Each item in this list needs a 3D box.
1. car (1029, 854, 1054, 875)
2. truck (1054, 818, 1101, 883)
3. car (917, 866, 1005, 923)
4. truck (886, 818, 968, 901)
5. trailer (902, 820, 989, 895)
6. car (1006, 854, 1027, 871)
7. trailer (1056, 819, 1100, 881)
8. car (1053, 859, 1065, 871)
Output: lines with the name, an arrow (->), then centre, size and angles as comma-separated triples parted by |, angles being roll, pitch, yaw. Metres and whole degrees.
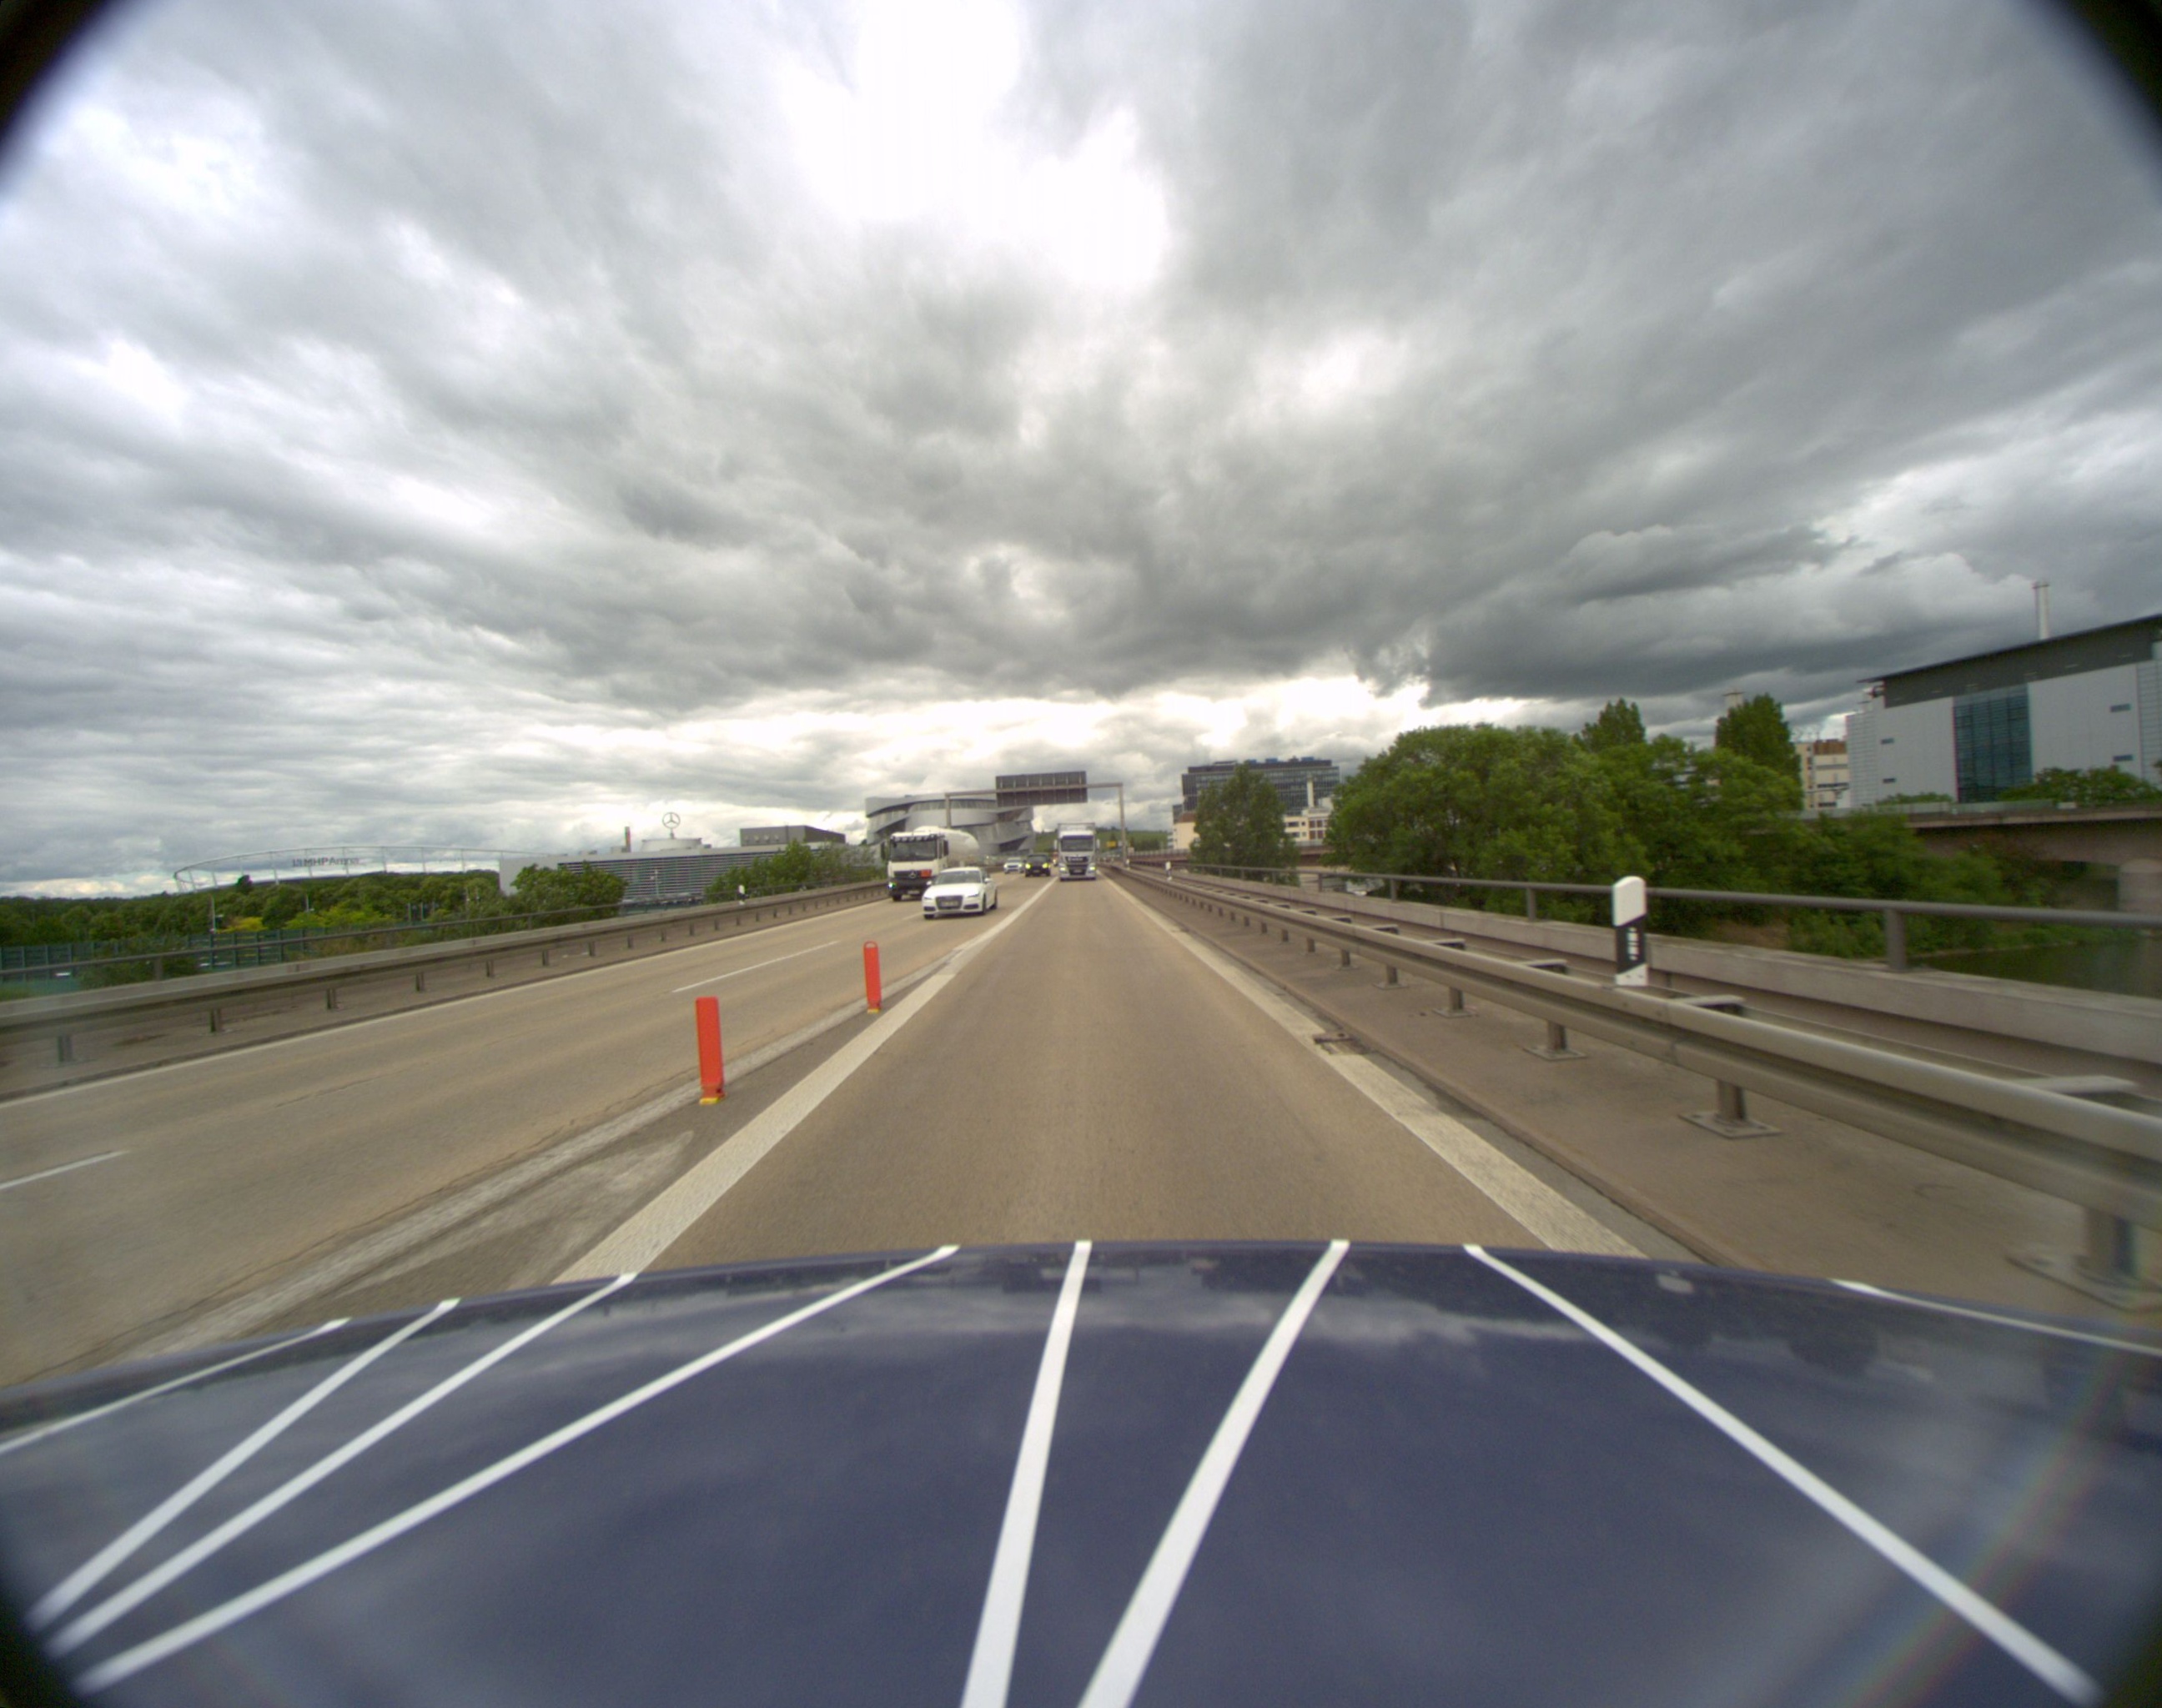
car -> -3.327, 0.883, 64.542 | 1.765, 1.623, 3.628 | -2, 0, 1
truck -> -0.211, -0.177, 52.560 | 2.946, 4.136, 6.291 | -2, 0, 0
car -> -3.570, 1.161, 23.309 | 1.848, 1.443, 3.933 | -5, -1, 2
truck -> -6.980, 0.223, 35.007 | 2.637, 3.493, 4.903 | -2, 1, 0
trailer -> -7.176, 0.182, 41.956 | 2.657, 3.522, 11.220 | -2, 0, 0
car -> -6.735, 0.884, 79.521 | 1.785, 1.623, 3.628 | -2, 0, 1
trailer -> -0.192, -0.230, 56.901 | 2.880, 4.104, 11.220 | -2, 0, 0
car -> -3.971, 1.969, 138.749 | 1.999, 2.002, 4.000 | -2, 0, 0
